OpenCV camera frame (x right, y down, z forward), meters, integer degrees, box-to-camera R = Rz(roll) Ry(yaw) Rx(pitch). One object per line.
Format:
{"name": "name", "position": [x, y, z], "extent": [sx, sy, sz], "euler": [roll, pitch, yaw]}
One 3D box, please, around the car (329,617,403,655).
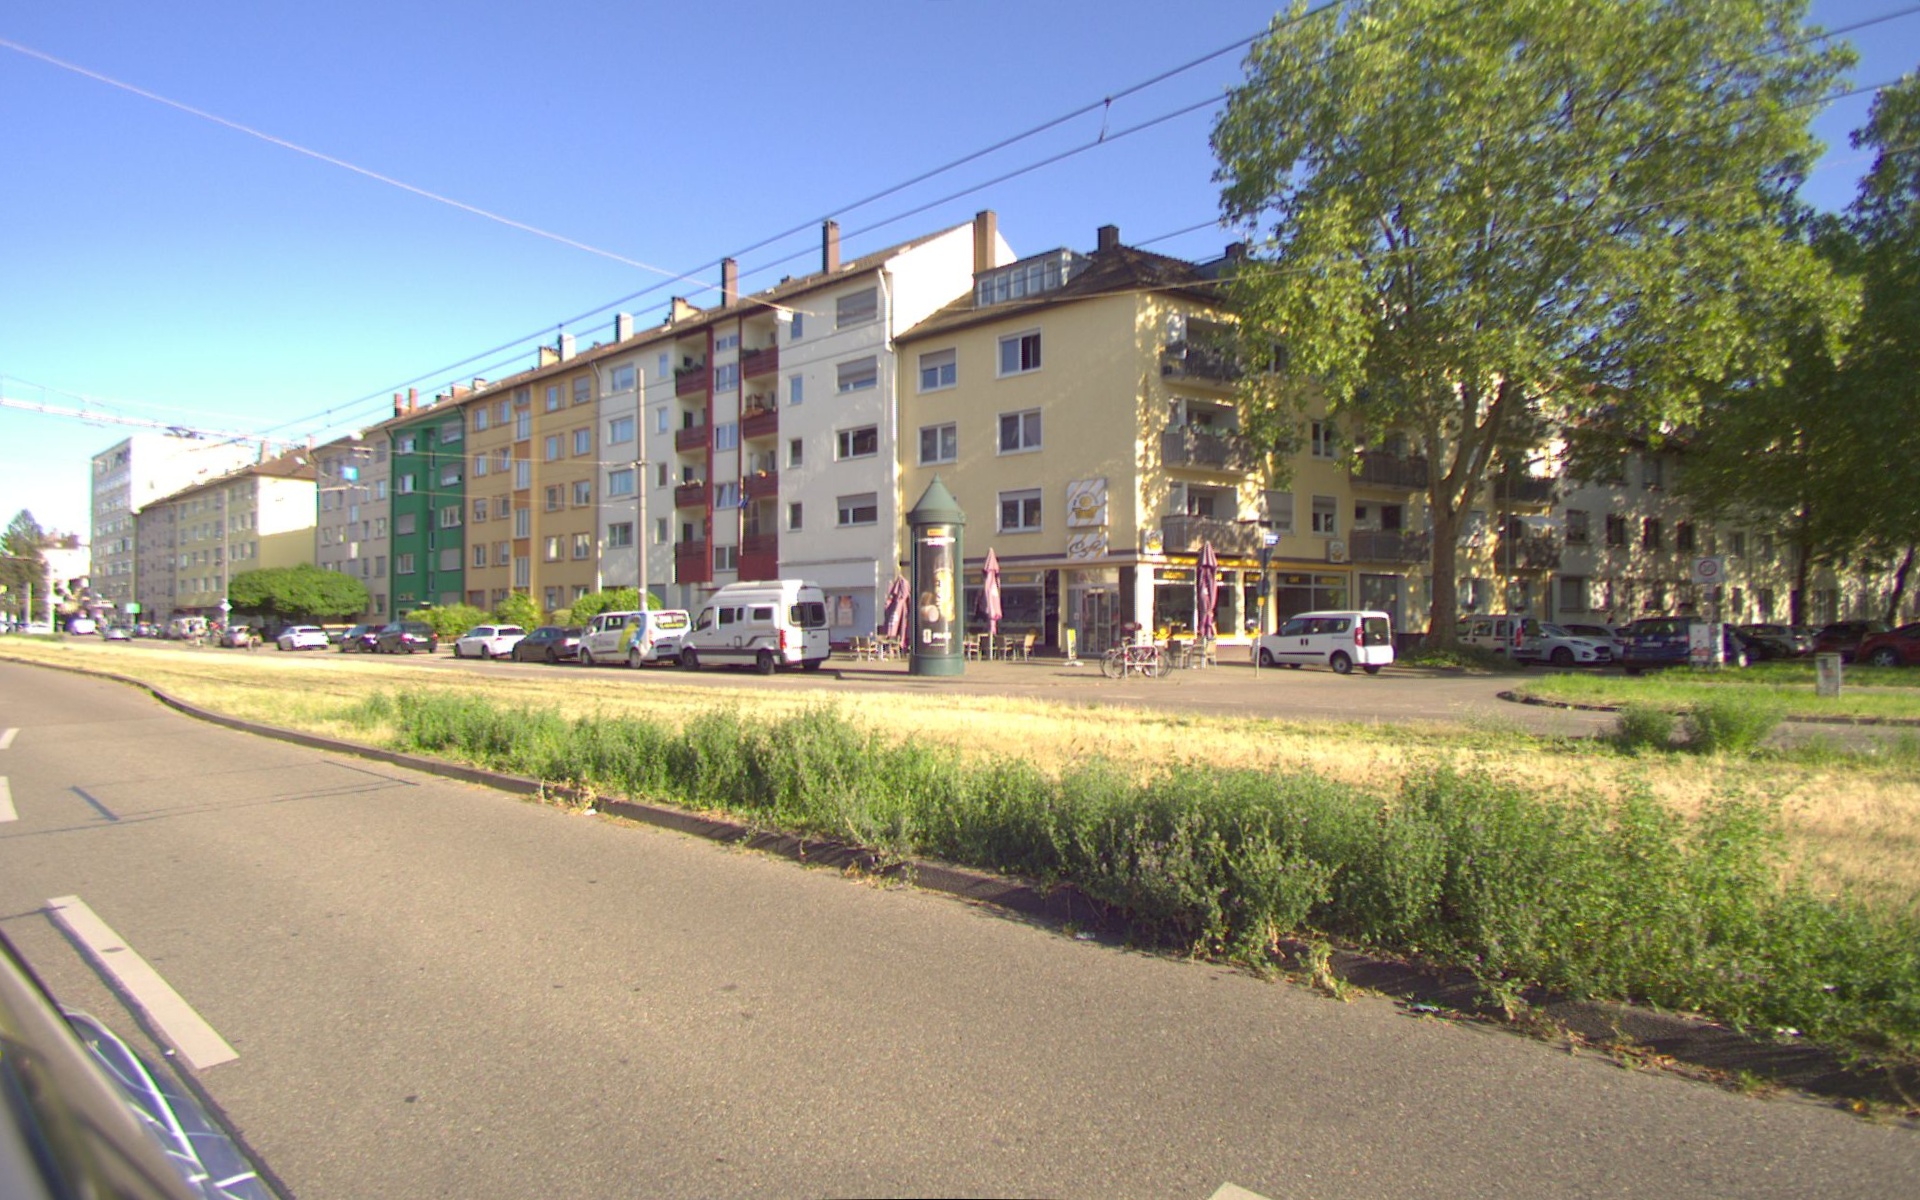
{"name": "car", "position": [-31.571, 1.905, 53.708], "extent": [4.606, 1.851, 1.973], "euler": [-2, 0, 41]}

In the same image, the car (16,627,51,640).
{"name": "car", "position": [-99.520, 3.632, 108.642], "extent": [4.404, 1.395, 1.818], "euler": [-2, -3, 35]}

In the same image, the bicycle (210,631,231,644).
{"name": "bicycle", "position": [-53.657, 2.729, 73.410], "extent": [2.046, 0.872, 0.374], "euler": [-2, 0, 29]}

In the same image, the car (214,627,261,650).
{"name": "car", "position": [-49.338, 2.619, 69.082], "extent": [3.729, 1.453, 1.620], "euler": [-1, 0, 39]}

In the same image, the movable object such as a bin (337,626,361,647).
{"name": "movable object such as a bin", "position": [-42.315, 2.535, 70.089], "extent": [1.039, 1.378, 1.134], "euler": [-1, 1, 43]}

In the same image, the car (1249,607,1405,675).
{"name": "car", "position": [11.103, 1.191, 30.823], "extent": [1.967, 1.840, 4.010], "euler": [-2, 1, -35]}

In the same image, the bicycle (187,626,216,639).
{"name": "bicycle", "position": [-70.142, 3.020, 93.570], "extent": [0.472, 1.114, 2.076], "euler": [-2, 1, 40]}

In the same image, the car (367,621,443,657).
{"name": "car", "position": [-27.712, 1.919, 50.518], "extent": [4.148, 1.620, 1.973], "euler": [-2, 1, 41]}

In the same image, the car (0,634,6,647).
{"name": "car", "position": [-116.187, 4.868, 121.393], "extent": [4.235, 1.562, 1.838], "euler": [-2, -4, 39]}

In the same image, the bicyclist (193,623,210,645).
{"name": "bicyclist", "position": [-49.643, 2.235, 66.225], "extent": [0.648, 1.394, 0.765], "euler": [-2, -2, 41]}

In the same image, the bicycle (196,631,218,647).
{"name": "bicycle", "position": [-54.083, 2.780, 72.651], "extent": [1.927, 1.101, 0.506], "euler": [-2, 0, 29]}

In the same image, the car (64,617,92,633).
{"name": "car", "position": [-113.837, 3.273, 130.611], "extent": [4.664, 1.912, 1.974], "euler": [-2, 0, 39]}

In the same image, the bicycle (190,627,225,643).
{"name": "bicycle", "position": [-56.977, 2.628, 76.651], "extent": [2.024, 1.101, 0.616], "euler": [-2, 1, -44]}

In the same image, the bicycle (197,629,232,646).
{"name": "bicycle", "position": [-55.223, 2.757, 74.974], "extent": [2.024, 1.101, 0.616], "euler": [-2, 1, -44]}

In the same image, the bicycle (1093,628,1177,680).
{"name": "bicycle", "position": [4.424, 1.367, 25.732], "extent": [2.065, 1.261, 0.518], "euler": [-1, 0, 7]}

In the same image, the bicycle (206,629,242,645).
{"name": "bicycle", "position": [-53.995, 2.720, 74.308], "extent": [2.019, 1.101, 0.617], "euler": [-2, 0, -22]}

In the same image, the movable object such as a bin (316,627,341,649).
{"name": "movable object such as a bin", "position": [-43.089, 2.573, 69.057], "extent": [1.039, 1.378, 1.134], "euler": [-1, 1, 43]}

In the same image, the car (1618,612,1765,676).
{"name": "car", "position": [19.799, 1.148, 27.367], "extent": [3.932, 1.613, 1.755], "euler": [0, -2, -31]}

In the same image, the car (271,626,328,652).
{"name": "car", "position": [-39.537, 2.317, 60.552], "extent": [4.373, 1.465, 1.711], "euler": [-2, -1, 41]}

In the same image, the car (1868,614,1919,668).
{"name": "car", "position": [27.274, 1.115, 27.406], "extent": [1.618, 1.391, 3.659], "euler": [-2, 1, -32]}

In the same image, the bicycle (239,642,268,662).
{"name": "bicycle", "position": [-40.895, 3.002, 58.547], "extent": [2.473, 1.155, 0.760], "euler": [-2, -4, 41]}

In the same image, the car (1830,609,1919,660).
{"name": "car", "position": [32.638, 1.190, 35.705], "extent": [3.932, 1.697, 1.755], "euler": [0, -2, -31]}

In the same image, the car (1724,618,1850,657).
{"name": "car", "position": [37.955, 1.718, 46.540], "extent": [1.966, 1.677, 4.074], "euler": [2, -1, -29]}

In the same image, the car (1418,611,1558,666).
{"name": "car", "position": [18.814, 1.343, 36.216], "extent": [1.966, 1.857, 4.012], "euler": [3, -2, -29]}

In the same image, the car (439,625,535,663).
{"name": "car", "position": [-20.614, 1.872, 44.043], "extent": [4.698, 1.503, 1.874], "euler": [-2, 0, 39]}

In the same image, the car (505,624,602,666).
{"name": "car", "position": [-16.280, 1.766, 40.460], "extent": [4.320, 1.526, 1.678], "euler": [-1, -1, 38]}

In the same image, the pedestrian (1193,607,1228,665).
{"name": "pedestrian", "position": [8.121, 1.158, 32.833], "extent": [0.827, 1.798, 0.689], "euler": [-2, 0, -10]}

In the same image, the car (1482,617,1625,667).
{"name": "car", "position": [21.661, 1.508, 37.092], "extent": [1.966, 1.677, 4.074], "euler": [2, -1, -29]}

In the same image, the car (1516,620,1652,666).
{"name": "car", "position": [23.704, 1.606, 38.567], "extent": [1.850, 1.582, 4.012], "euler": [3, -2, -29]}

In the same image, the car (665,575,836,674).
{"name": "car", "position": [-6.813, 0.766, 32.295], "extent": [6.226, 2.890, 2.011], "euler": [-2, -1, 42]}

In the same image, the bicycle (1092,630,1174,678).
{"name": "bicycle", "position": [4.469, 1.389, 26.282], "extent": [2.065, 1.193, 0.518], "euler": [0, 1, 7]}

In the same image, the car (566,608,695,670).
{"name": "car", "position": [-12.044, 1.382, 36.795], "extent": [5.368, 2.036, 2.011], "euler": [-2, 1, 42]}

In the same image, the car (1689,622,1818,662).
{"name": "car", "position": [35.090, 1.830, 44.867], "extent": [1.966, 1.677, 4.074], "euler": [2, -1, -29]}

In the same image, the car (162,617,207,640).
{"name": "car", "position": [-73.330, 2.697, 95.702], "extent": [5.492, 1.964, 1.975], "euler": [-2, 1, 38]}

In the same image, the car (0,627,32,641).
{"name": "car", "position": [-105.066, 3.831, 112.611], "extent": [4.405, 1.540, 1.767], "euler": [-2, -3, 36]}

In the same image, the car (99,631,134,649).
{"name": "car", "position": [-71.486, 3.407, 85.765], "extent": [4.215, 1.459, 1.676], "euler": [-2, -3, 42]}

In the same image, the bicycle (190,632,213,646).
{"name": "bicycle", "position": [-49.676, 2.571, 66.252], "extent": [2.068, 0.886, 0.760], "euler": [-2, -4, 41]}

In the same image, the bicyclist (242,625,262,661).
{"name": "bicyclist", "position": [-41.142, 2.512, 58.792], "extent": [0.648, 2.029, 0.765], "euler": [-2, 0, 41]}
